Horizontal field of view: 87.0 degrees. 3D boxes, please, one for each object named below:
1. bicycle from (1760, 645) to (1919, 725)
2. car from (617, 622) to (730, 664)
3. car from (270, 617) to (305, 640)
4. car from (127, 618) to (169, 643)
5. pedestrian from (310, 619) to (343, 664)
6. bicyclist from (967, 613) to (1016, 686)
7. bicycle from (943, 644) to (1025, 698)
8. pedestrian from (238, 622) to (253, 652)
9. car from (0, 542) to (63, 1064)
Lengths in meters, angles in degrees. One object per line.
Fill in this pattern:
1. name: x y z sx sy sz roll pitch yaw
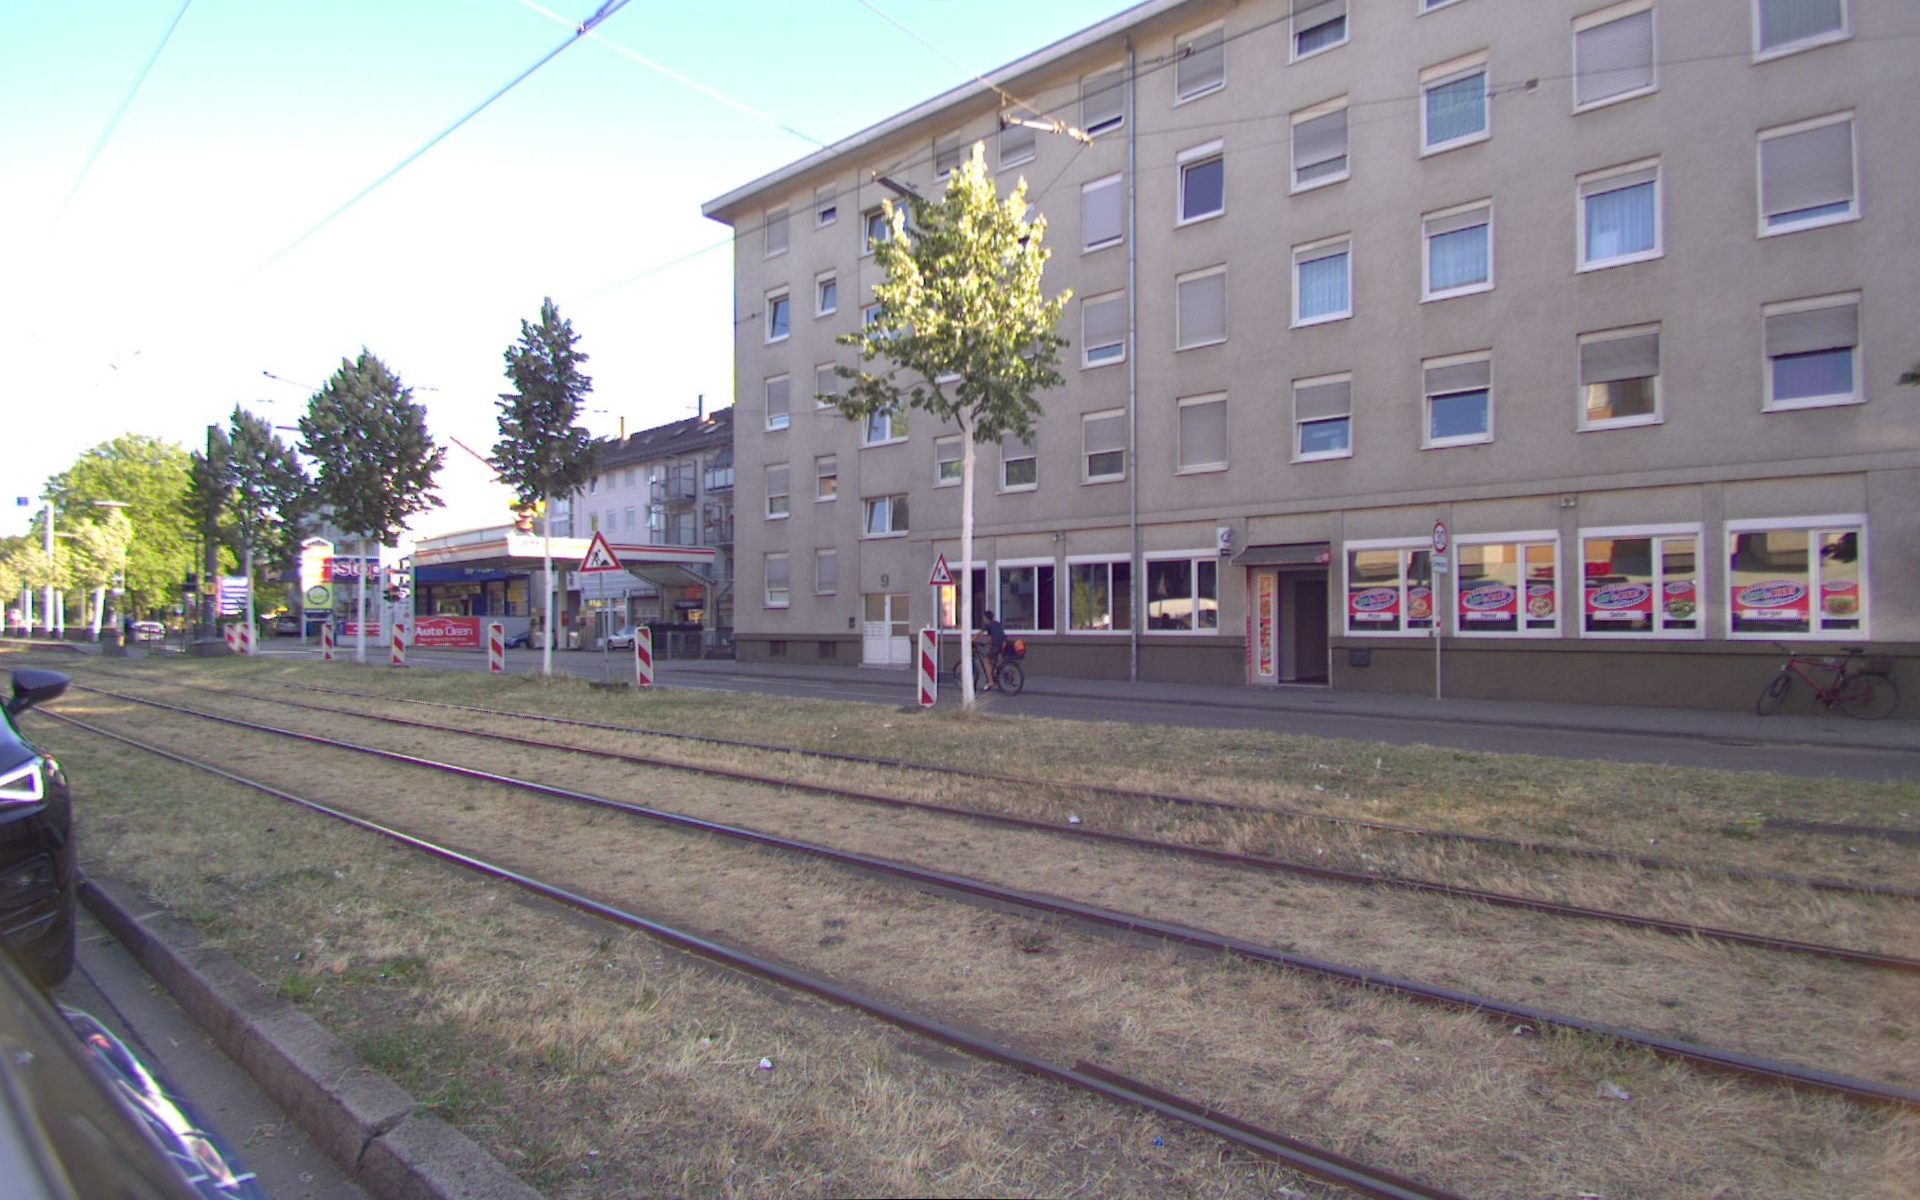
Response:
1. bicycle: 12.800 1.204 14.675 1.844 1.031 0.601 -1 0 41
2. car: -10.739 1.607 38.105 1.906 1.481 3.680 -4 -4 40
3. car: -49.817 2.092 74.940 1.756 1.567 4.006 -1 0 -40
4. car: -54.886 2.023 68.402 3.828 1.622 1.701 -1 0 43
5. pedestrian: -18.354 1.204 29.334 0.581 1.280 0.655 -3 -1 42
6. bicyclist: 0.651 1.001 20.693 0.649 1.457 0.769 -2 -2 41
7. bicycle: 0.475 1.442 20.818 1.860 1.052 0.441 -2 -2 42
8. pedestrian: -47.395 2.454 67.138 0.583 2.029 0.623 -2 -2 42
9. car: -5.098 0.710 4.047 3.998 1.690 1.752 -1 0 41
